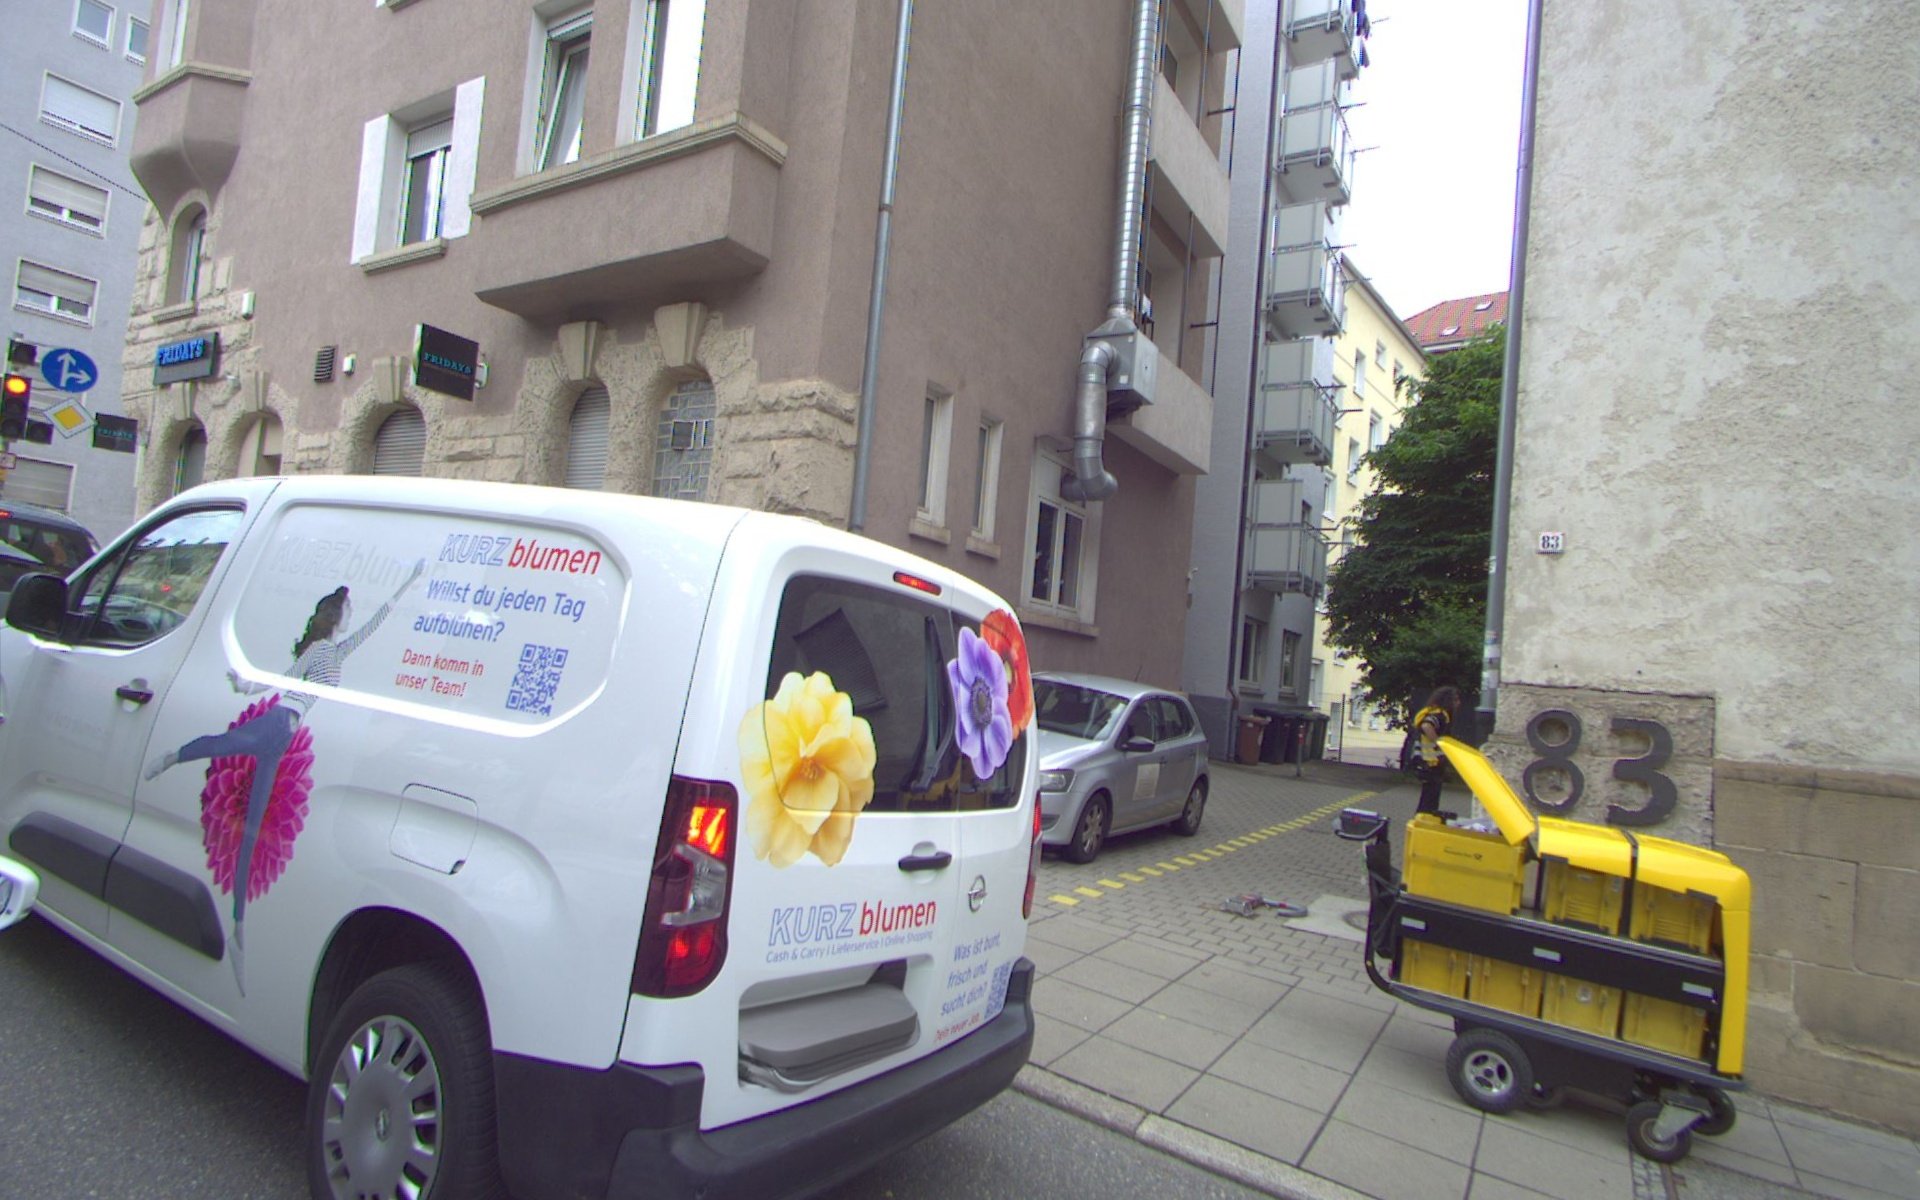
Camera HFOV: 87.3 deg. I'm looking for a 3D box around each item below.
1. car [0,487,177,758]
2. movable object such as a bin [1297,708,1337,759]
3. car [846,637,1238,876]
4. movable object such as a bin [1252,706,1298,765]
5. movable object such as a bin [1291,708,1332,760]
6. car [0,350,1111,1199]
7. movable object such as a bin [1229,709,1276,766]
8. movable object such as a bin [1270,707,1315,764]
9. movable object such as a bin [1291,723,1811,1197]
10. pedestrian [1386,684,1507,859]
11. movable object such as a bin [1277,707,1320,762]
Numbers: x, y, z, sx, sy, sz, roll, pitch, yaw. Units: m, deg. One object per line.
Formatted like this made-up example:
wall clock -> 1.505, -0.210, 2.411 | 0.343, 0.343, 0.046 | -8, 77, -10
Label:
car -> -7.378, -0.041, 6.965 | 3.570, 1.609, 1.758 | 6, -5, 32
movable object such as a bin -> 8.366, 3.112, 23.562 | 0.644, 1.073, 0.673 | 7, -1, 31
car -> 0.982, 1.342, 9.237 | 1.770, 1.419, 3.995 | 9, -1, 33
movable object such as a bin -> 6.321, 2.711, 20.162 | 0.644, 1.073, 0.572 | 7, -1, 31
movable object such as a bin -> 7.995, 3.033, 22.894 | 0.644, 1.073, 0.673 | 7, -1, 31
car -> -2.152, 0.493, 3.776 | 4.945, 1.845, 1.852 | 4, -4, 37
movable object such as a bin -> 5.631, 2.633, 19.347 | 0.626, 0.997, 0.572 | 7, -1, 31
movable object such as a bin -> 6.984, 2.838, 21.124 | 0.644, 1.073, 0.681 | 7, -1, 31
movable object such as a bin -> 2.421, 1.369, 4.315 | 1.665, 1.437, 0.720 | 5, -1, 31
pedestrian -> 5.039, 1.758, 10.437 | 0.753, 1.680, 0.740 | 5, -3, -25
movable object such as a bin -> 7.328, 2.902, 21.799 | 0.644, 1.073, 0.673 | 7, -1, 31
